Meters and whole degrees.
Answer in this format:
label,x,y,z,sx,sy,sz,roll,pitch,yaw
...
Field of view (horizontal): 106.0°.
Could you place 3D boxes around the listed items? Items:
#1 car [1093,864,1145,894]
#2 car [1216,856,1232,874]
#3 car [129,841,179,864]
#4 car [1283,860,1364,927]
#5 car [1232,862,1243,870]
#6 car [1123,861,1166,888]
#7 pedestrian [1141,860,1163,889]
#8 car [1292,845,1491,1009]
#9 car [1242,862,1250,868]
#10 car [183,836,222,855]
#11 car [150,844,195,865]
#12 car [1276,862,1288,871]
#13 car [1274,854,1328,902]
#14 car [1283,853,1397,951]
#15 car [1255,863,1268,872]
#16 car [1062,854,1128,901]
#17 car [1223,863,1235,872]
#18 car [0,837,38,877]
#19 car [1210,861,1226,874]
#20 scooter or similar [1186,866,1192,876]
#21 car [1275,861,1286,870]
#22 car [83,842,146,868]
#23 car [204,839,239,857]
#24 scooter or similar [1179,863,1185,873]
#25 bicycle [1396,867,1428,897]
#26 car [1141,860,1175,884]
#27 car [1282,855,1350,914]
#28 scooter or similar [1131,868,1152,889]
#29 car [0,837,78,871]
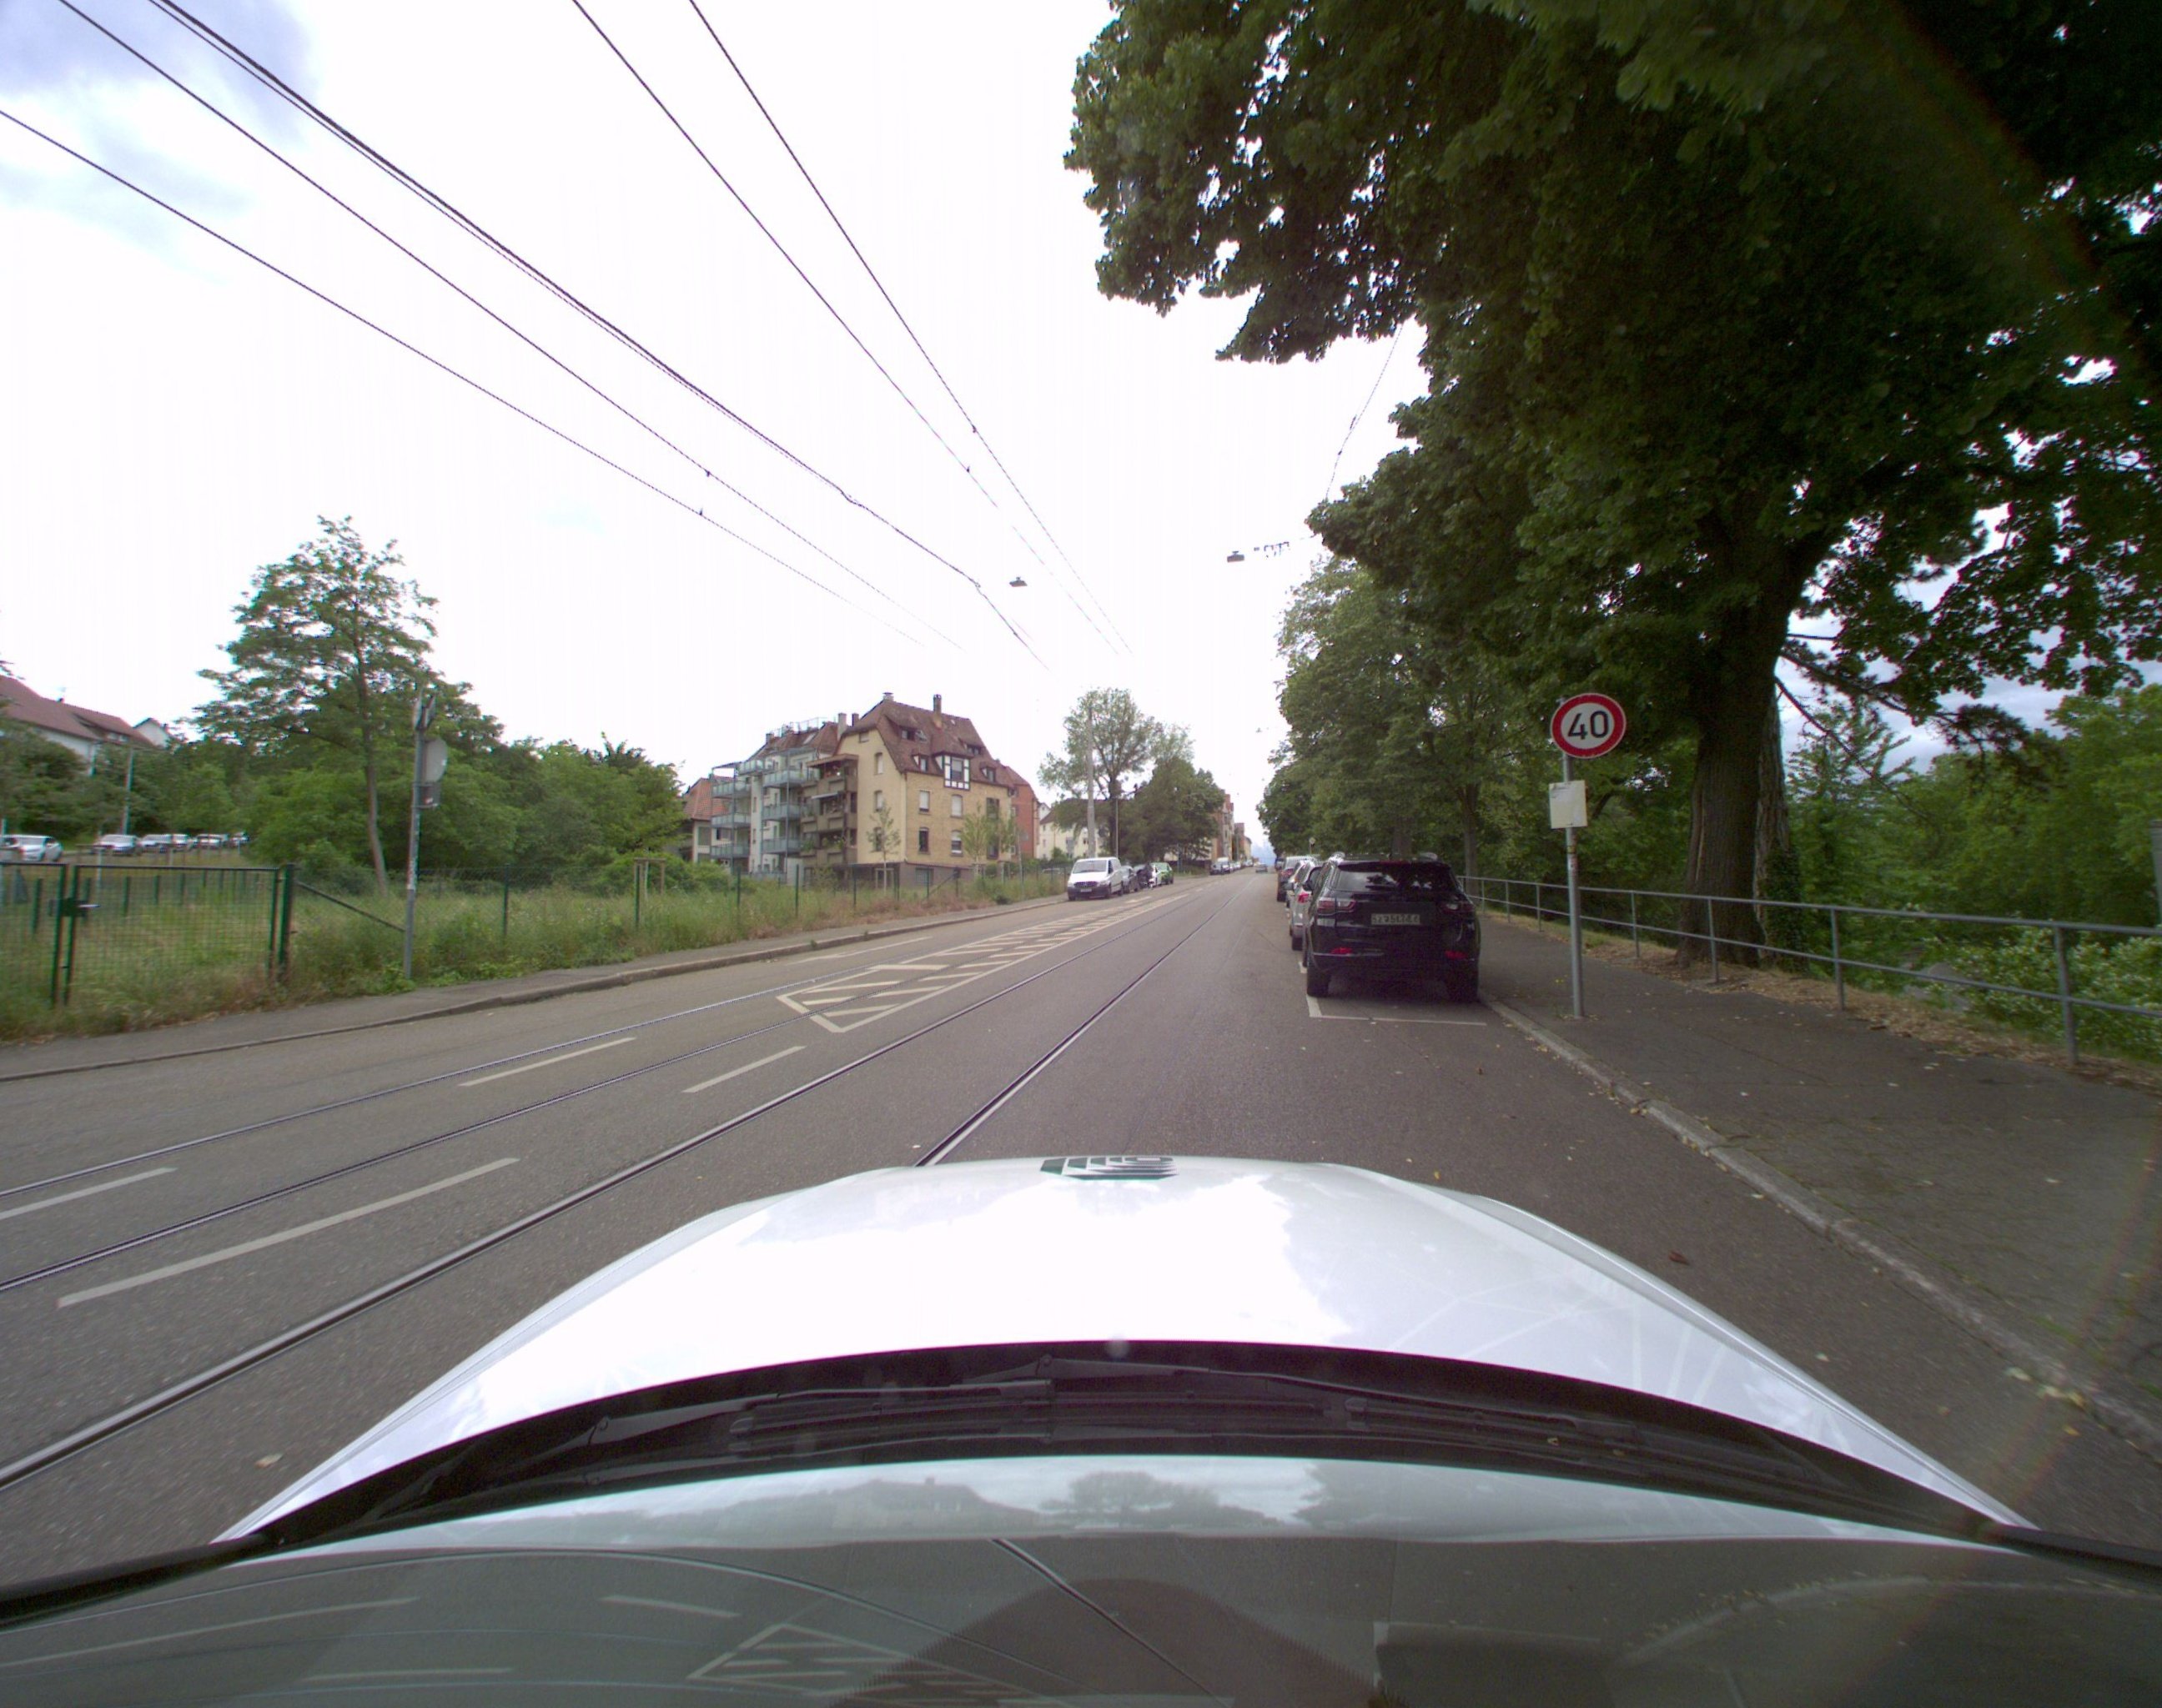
label,x,y,z,sx,sy,sz,roll,pitch,yaw
car,2.078,1.306,43.318,1.883,1.433,4.527,-3,-1,13
car,22.871,1.765,130.199,2.216,2.764,5.817,-1,-2,11
car,-73.395,-0.089,64.521,1.846,1.658,4.084,1,-2,-38
car,6.114,0.927,20.890,1.618,1.516,4.077,1,0,12
car,33.236,2.492,172.949,1.910,1.601,4.014,-1,-2,14
car,4.056,1.275,51.366,1.872,1.526,4.680,-3,-2,13
pedestrian,3.899,1.136,45.026,0.810,1.629,0.906,1,-2,-35
car,3.706,0.739,10.489,1.890,1.615,4.618,0,-1,15
car,42.870,2.889,211.435,1.980,1.601,4.014,-1,-2,13
car,-84.284,-0.792,78.184,1.846,1.658,4.084,1,-2,-38
car,-77.015,0.064,69.102,1.846,1.658,4.084,1,-2,-38
car,35.142,2.206,142.315,1.979,1.530,4.328,-1,-2,15
car,8.485,0.868,31.591,1.864,1.678,5.081,1,0,14
car,4.759,0.819,15.482,1.722,1.576,4.380,-1,-1,13
car,28.818,2.188,129.998,1.980,1.499,4.327,-1,-2,13
car,0.746,1.076,37.651,2.022,1.881,4.901,-4,-2,12
car,25.457,2.346,140.216,1.980,1.600,4.325,-1,-2,11
car,-51.847,0.169,38.570,1.910,1.789,4.433,1,-2,-37
car,19.544,1.920,116.035,1.979,1.808,4.015,-1,-2,15
scooter or similar,14.891,2.339,112.195,0.686,1.339,1.645,-1,-2,15
car,39.814,2.372,162.325,1.979,1.717,4.015,-2,-2,14
car,-66.052,0.070,55.723,1.846,1.658,4.085,1,-2,-37
car,-88.450,-0.599,83.811,1.846,1.658,4.084,1,-2,-38
scooter or similar,13.964,1.893,112.424,0.686,1.339,1.645,-1,-2,15
bicycle,11.287,0.950,27.813,0.425,0.976,1.796,-1,-2,4
car,5.436,1.221,56.846,1.711,1.580,4.196,-3,-1,14
car,7.309,0.903,25.654,1.715,1.631,4.101,2,0,12
scooter or similar,3.405,1.375,45.719,0.811,1.196,0.830,1,-2,-35
car,-55.125,0.053,42.931,1.846,1.658,4.085,1,-2,-37
